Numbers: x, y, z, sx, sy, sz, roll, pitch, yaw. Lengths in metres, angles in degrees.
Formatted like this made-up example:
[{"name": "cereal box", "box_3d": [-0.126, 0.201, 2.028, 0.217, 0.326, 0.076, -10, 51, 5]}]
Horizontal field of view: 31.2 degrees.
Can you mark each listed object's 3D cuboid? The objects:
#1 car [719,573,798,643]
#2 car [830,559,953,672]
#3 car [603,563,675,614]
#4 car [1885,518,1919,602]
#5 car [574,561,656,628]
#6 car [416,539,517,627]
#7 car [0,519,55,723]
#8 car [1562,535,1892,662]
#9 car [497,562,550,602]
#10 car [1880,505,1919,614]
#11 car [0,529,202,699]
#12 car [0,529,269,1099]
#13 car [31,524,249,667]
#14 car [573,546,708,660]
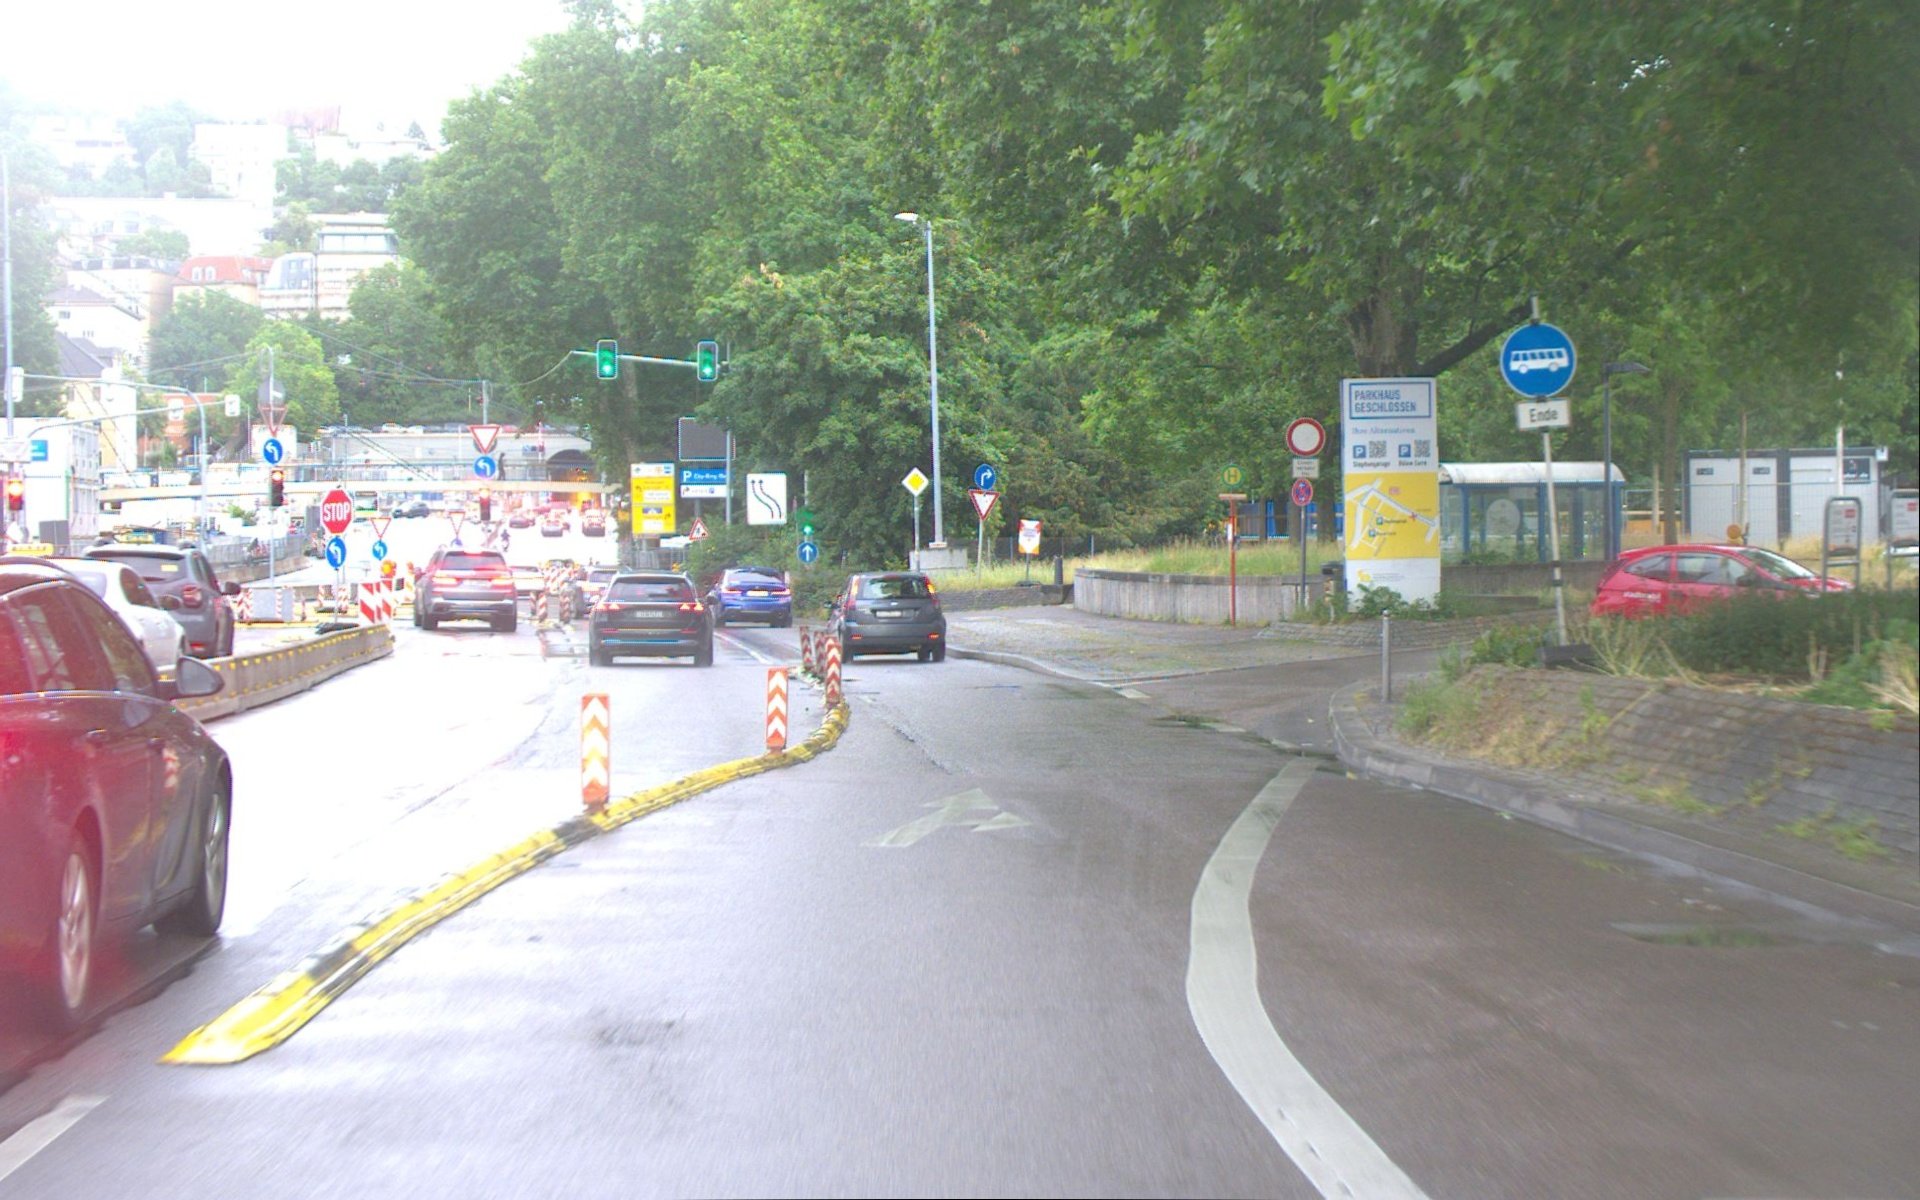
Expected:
[{"name": "car", "box_3d": [-4.725, 0.181, 80.909, 1.674, 1.576, 3.240, 1, 0, -1]}, {"name": "car", "box_3d": [-1.130, 0.226, 54.705, 1.851, 1.711, 4.000, 1, 0, -2]}, {"name": "car", "box_3d": [-10.380, -0.384, 111.029, 1.634, 1.619, 3.796, 1, 0, -16]}, {"name": "car", "box_3d": [21.861, -0.817, 73.622, 4.443, 1.775, 1.949, 1, 0, -44]}, {"name": "car", "box_3d": [-9.226, -0.160, 92.163, 1.904, 1.711, 4.000, 1, 0, -2]}, {"name": "car", "box_3d": [-10.756, -0.369, 74.744, 1.993, 1.820, 4.001, 1, 0, -10]}, {"name": "car", "box_3d": [-8.046, 0.141, 24.388, 1.972, 1.506, 5.006, 1, 0, -1]}, {"name": "car", "box_3d": [9.569, -0.037, 43.010, 3.615, 1.500, 1.730, 1, 0, 38]}, {"name": "car", "box_3d": [-17.489, -0.721, 137.599, 1.813, 1.569, 4.001, 1, 0, -11]}, {"name": "car", "box_3d": [19.538, -0.723, 65.086, 2.132, 2.007, 4.637, 1, 0, 43]}, {"name": "car", "box_3d": [-9.021, 0.121, 34.643, 1.993, 1.562, 4.876, -1, 1, -4]}, {"name": "car", "box_3d": [-3.592, 0.530, 11.367, 1.877, 1.503, 4.852, 0, 1, -3]}, {"name": "car", "box_3d": [-9.491, -0.068, 40.077, 1.993, 1.525, 4.153, -1, 1, -7]}, {"name": "car", "box_3d": [-4.908, 0.017, 53.208, 1.830, 1.680, 4.134, 0, 1, -2]}]
